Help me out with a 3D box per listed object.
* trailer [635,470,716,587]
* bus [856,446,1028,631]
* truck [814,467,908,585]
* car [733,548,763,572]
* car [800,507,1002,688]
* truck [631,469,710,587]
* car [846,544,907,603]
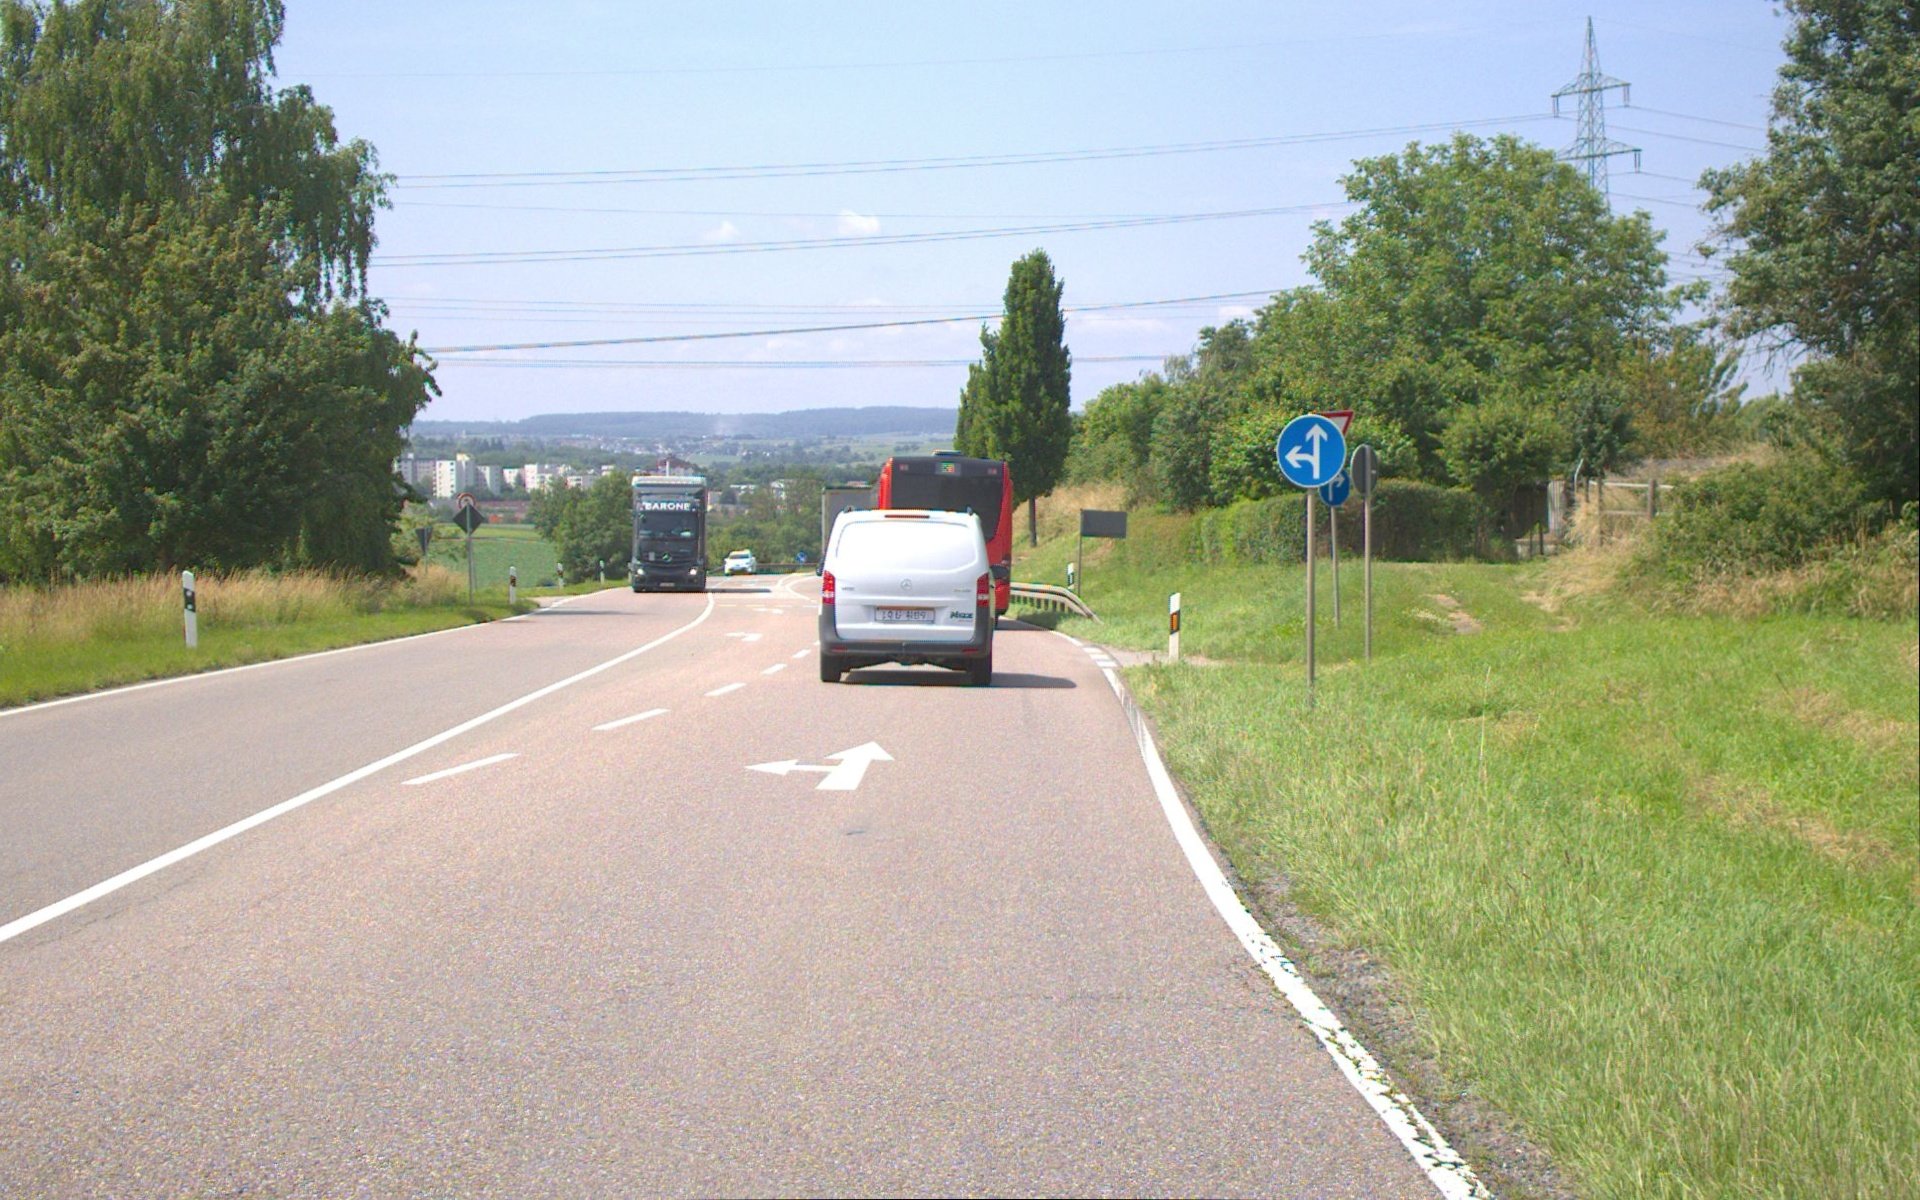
[{"bbox_3d":[-10.589,-2.638,128.885,2.592,4.128,13.743,0,1,-3],"label":"trailer"},{"bbox_3d":[-0.530,-1.434,70.414,2.747,3.341,13.225,-2,3,-3],"label":"bus"},{"bbox_3d":[-3.969,-2.944,137.832,3.488,4.408,14.904,-1,1,-2],"label":"truck"},{"bbox_3d":[-14.076,-2.685,228.376,1.853,1.560,4.075,-1,1,-2],"label":"car"},{"bbox_3d":[-0.603,-0.069,38.317,1.923,1.883,4.000,-1,1,3],"label":"car"},{"bbox_3d":[-10.245,-2.536,121.906,2.585,4.090,5.442,0,1,-3],"label":"truck"},{"bbox_3d":[-2.668,-0.866,110.813,1.885,1.810,3.765,-1,1,-1],"label":"car"}]
